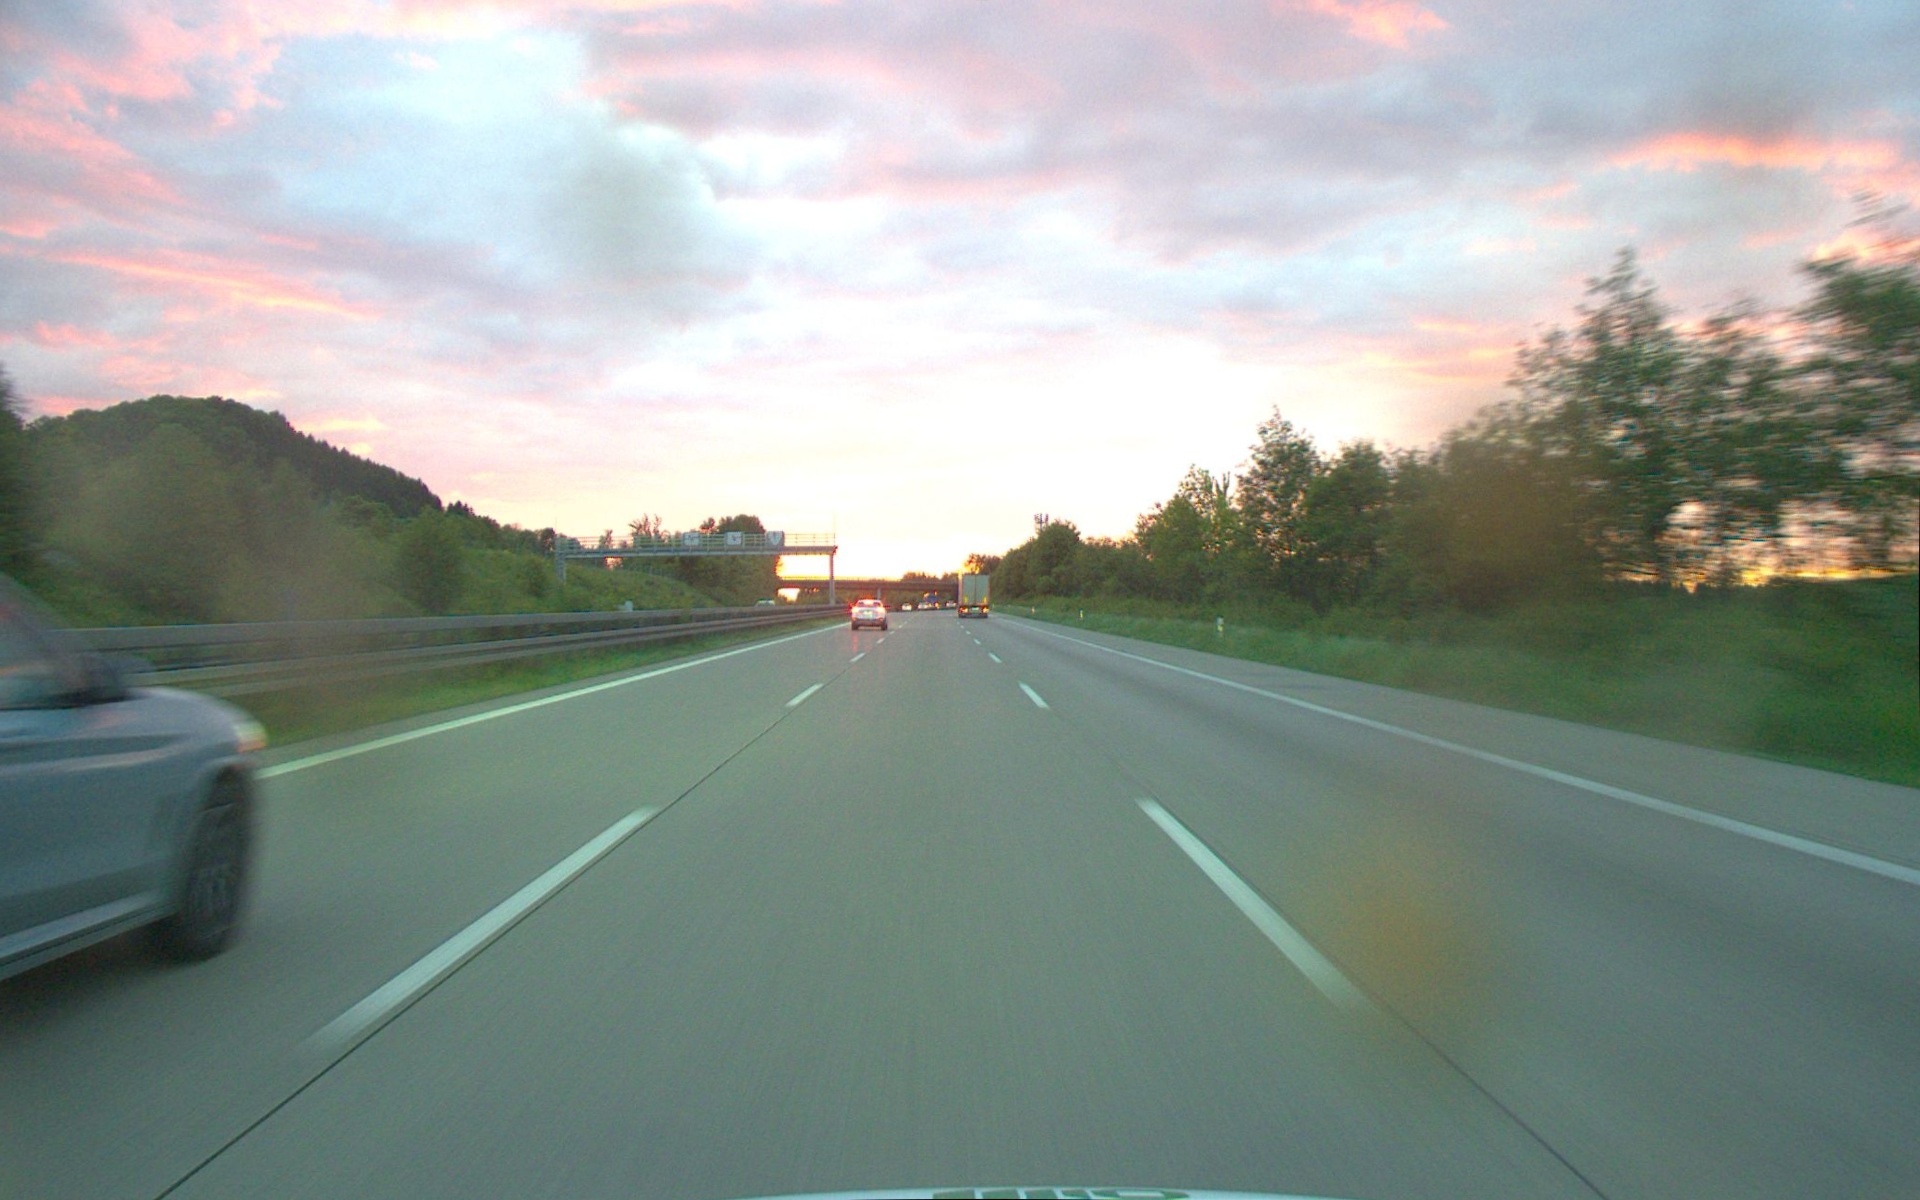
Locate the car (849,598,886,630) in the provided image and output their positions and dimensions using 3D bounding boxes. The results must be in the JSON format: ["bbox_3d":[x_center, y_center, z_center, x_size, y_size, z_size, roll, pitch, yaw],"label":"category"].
[{"bbox_3d":[-4.747,0.687,85.569,1.753,1.527,5.036,1,0,-1],"label":"car"}]

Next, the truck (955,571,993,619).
[{"bbox_3d":[1.241,-0.435,151.887,3.179,4.199,9.784,-1,0,-1],"label":"truck"}]

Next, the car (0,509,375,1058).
[{"bbox_3d":[-3.884,0.562,5.641,1.851,1.689,5.638,0,0,-1],"label":"car"}]
